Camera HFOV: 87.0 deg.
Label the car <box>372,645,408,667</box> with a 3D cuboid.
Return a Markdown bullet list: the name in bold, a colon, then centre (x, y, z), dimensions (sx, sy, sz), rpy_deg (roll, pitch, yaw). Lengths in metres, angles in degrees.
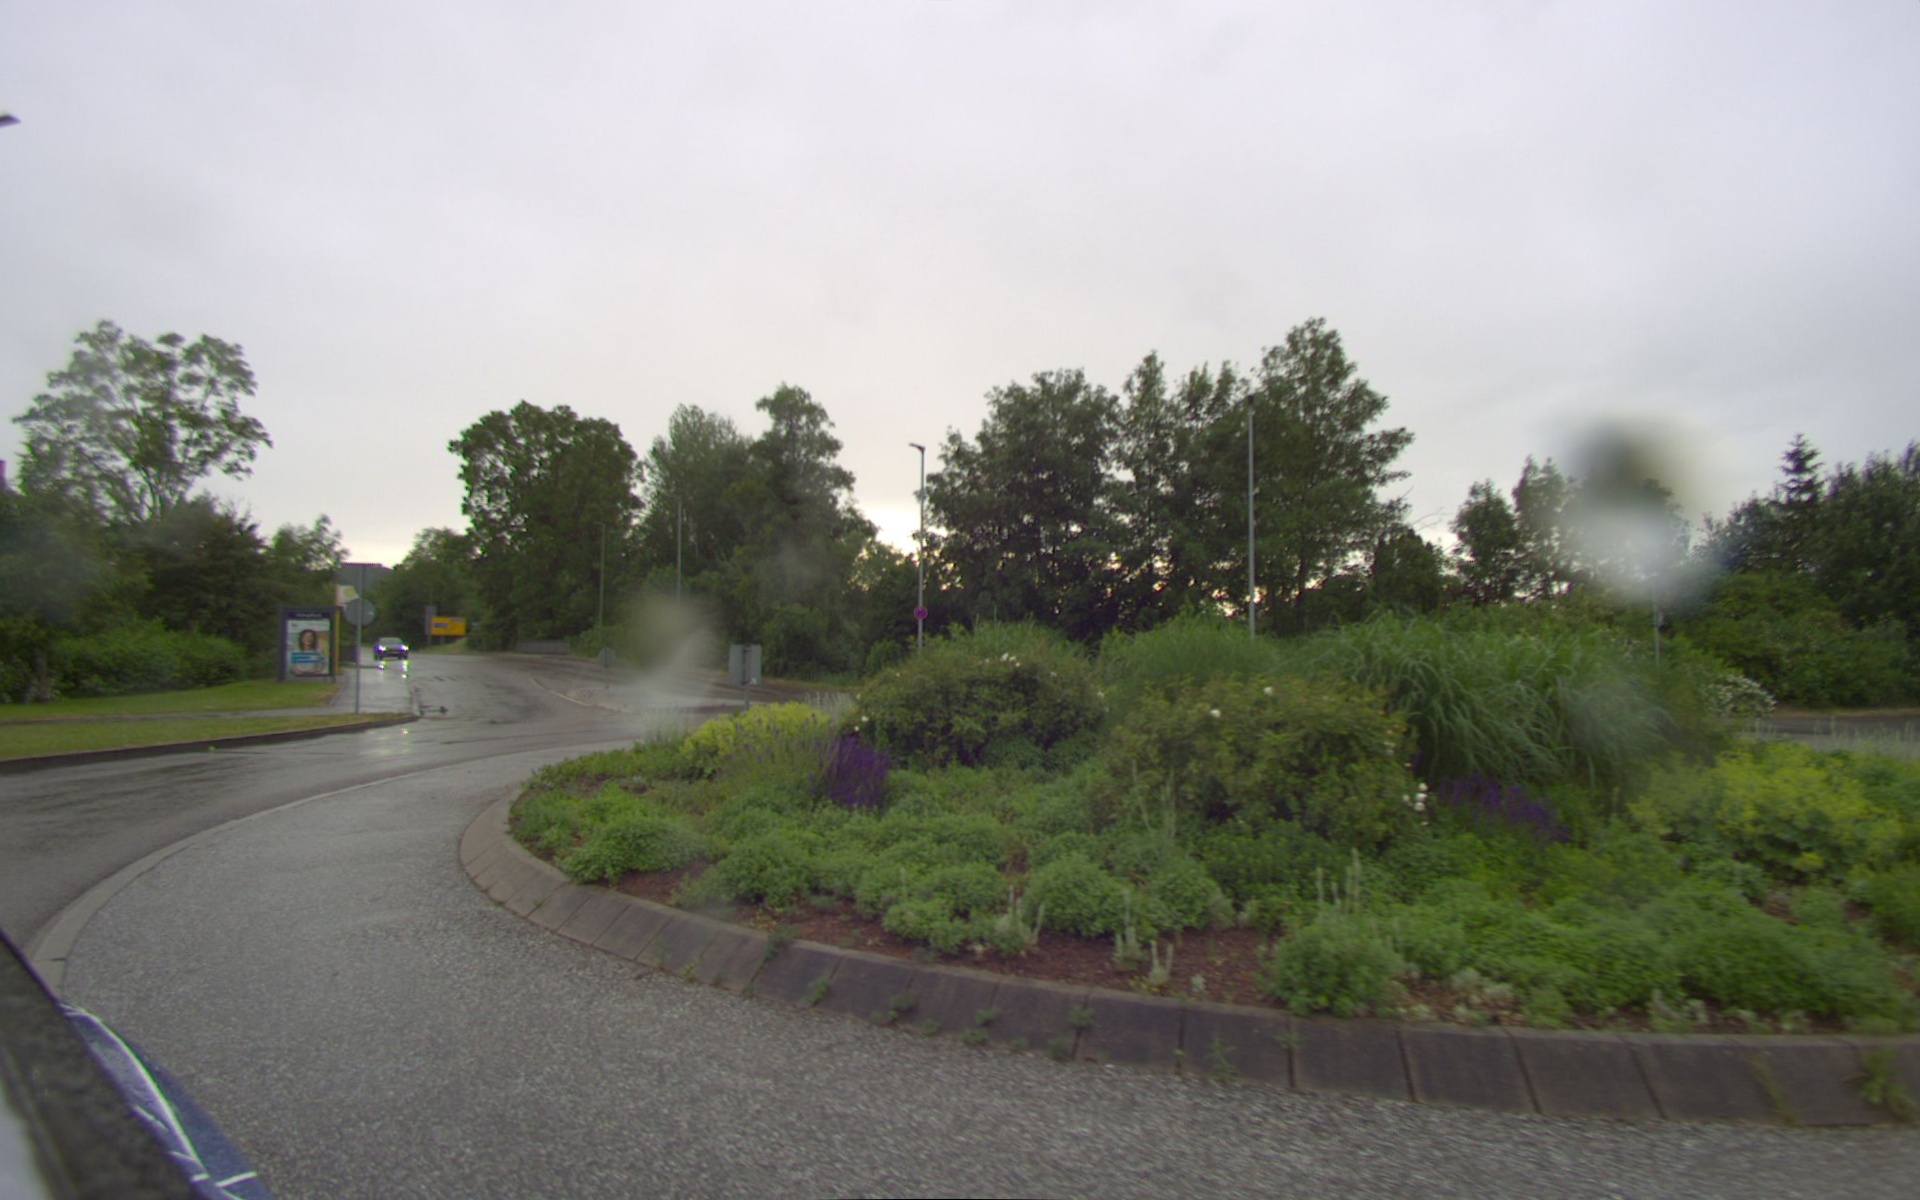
- **car**: centre (-40.005, 3.899, 70.949), dimensions (1.826, 1.501, 4.131), rpy_deg (2, -3, -34)
